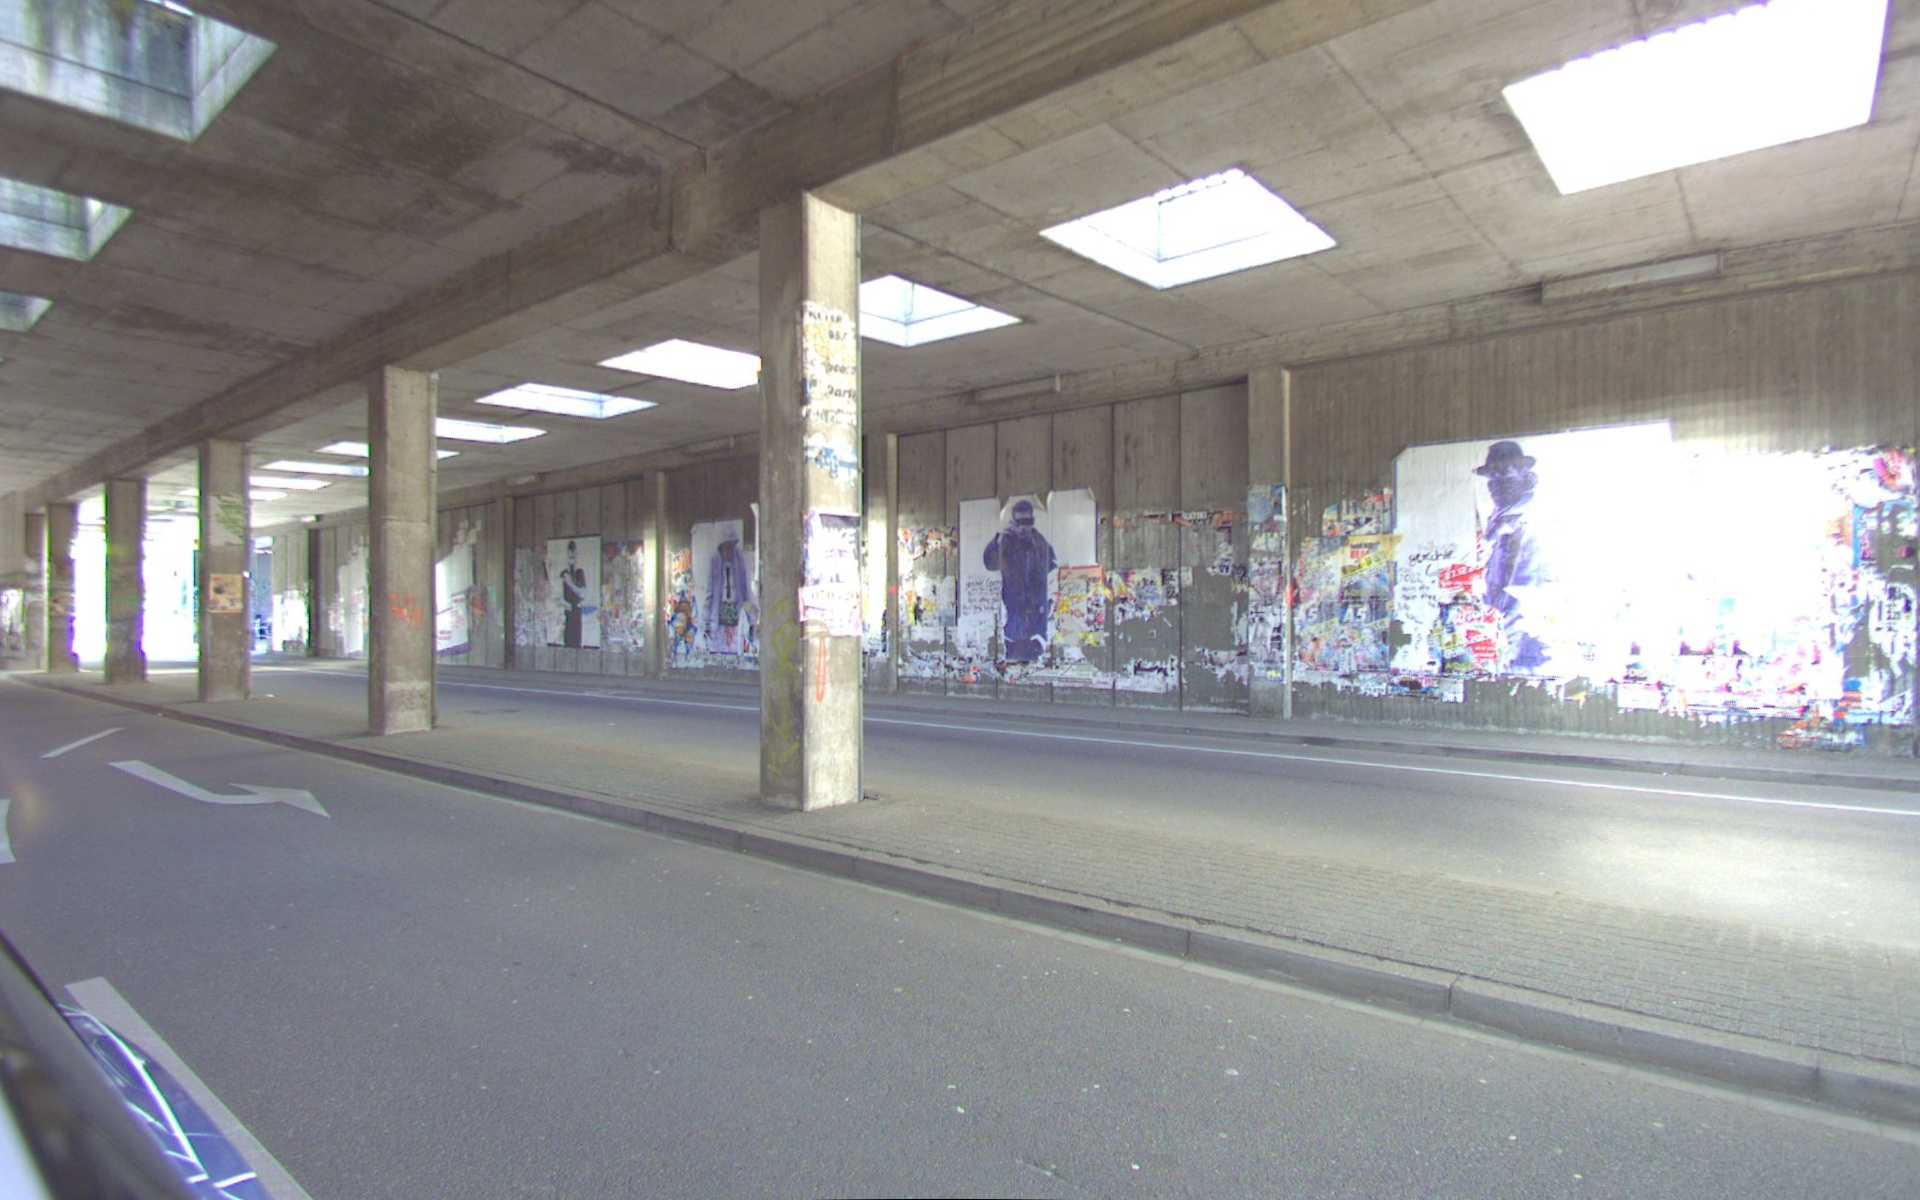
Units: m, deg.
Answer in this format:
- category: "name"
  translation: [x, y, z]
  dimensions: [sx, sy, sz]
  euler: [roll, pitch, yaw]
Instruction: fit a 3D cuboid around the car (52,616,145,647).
- category: "car"
  translation: [-49.099, 1.764, 57.738]
  dimensions: [1.728, 1.618, 3.824]
  euler: [-1, 1, 41]
